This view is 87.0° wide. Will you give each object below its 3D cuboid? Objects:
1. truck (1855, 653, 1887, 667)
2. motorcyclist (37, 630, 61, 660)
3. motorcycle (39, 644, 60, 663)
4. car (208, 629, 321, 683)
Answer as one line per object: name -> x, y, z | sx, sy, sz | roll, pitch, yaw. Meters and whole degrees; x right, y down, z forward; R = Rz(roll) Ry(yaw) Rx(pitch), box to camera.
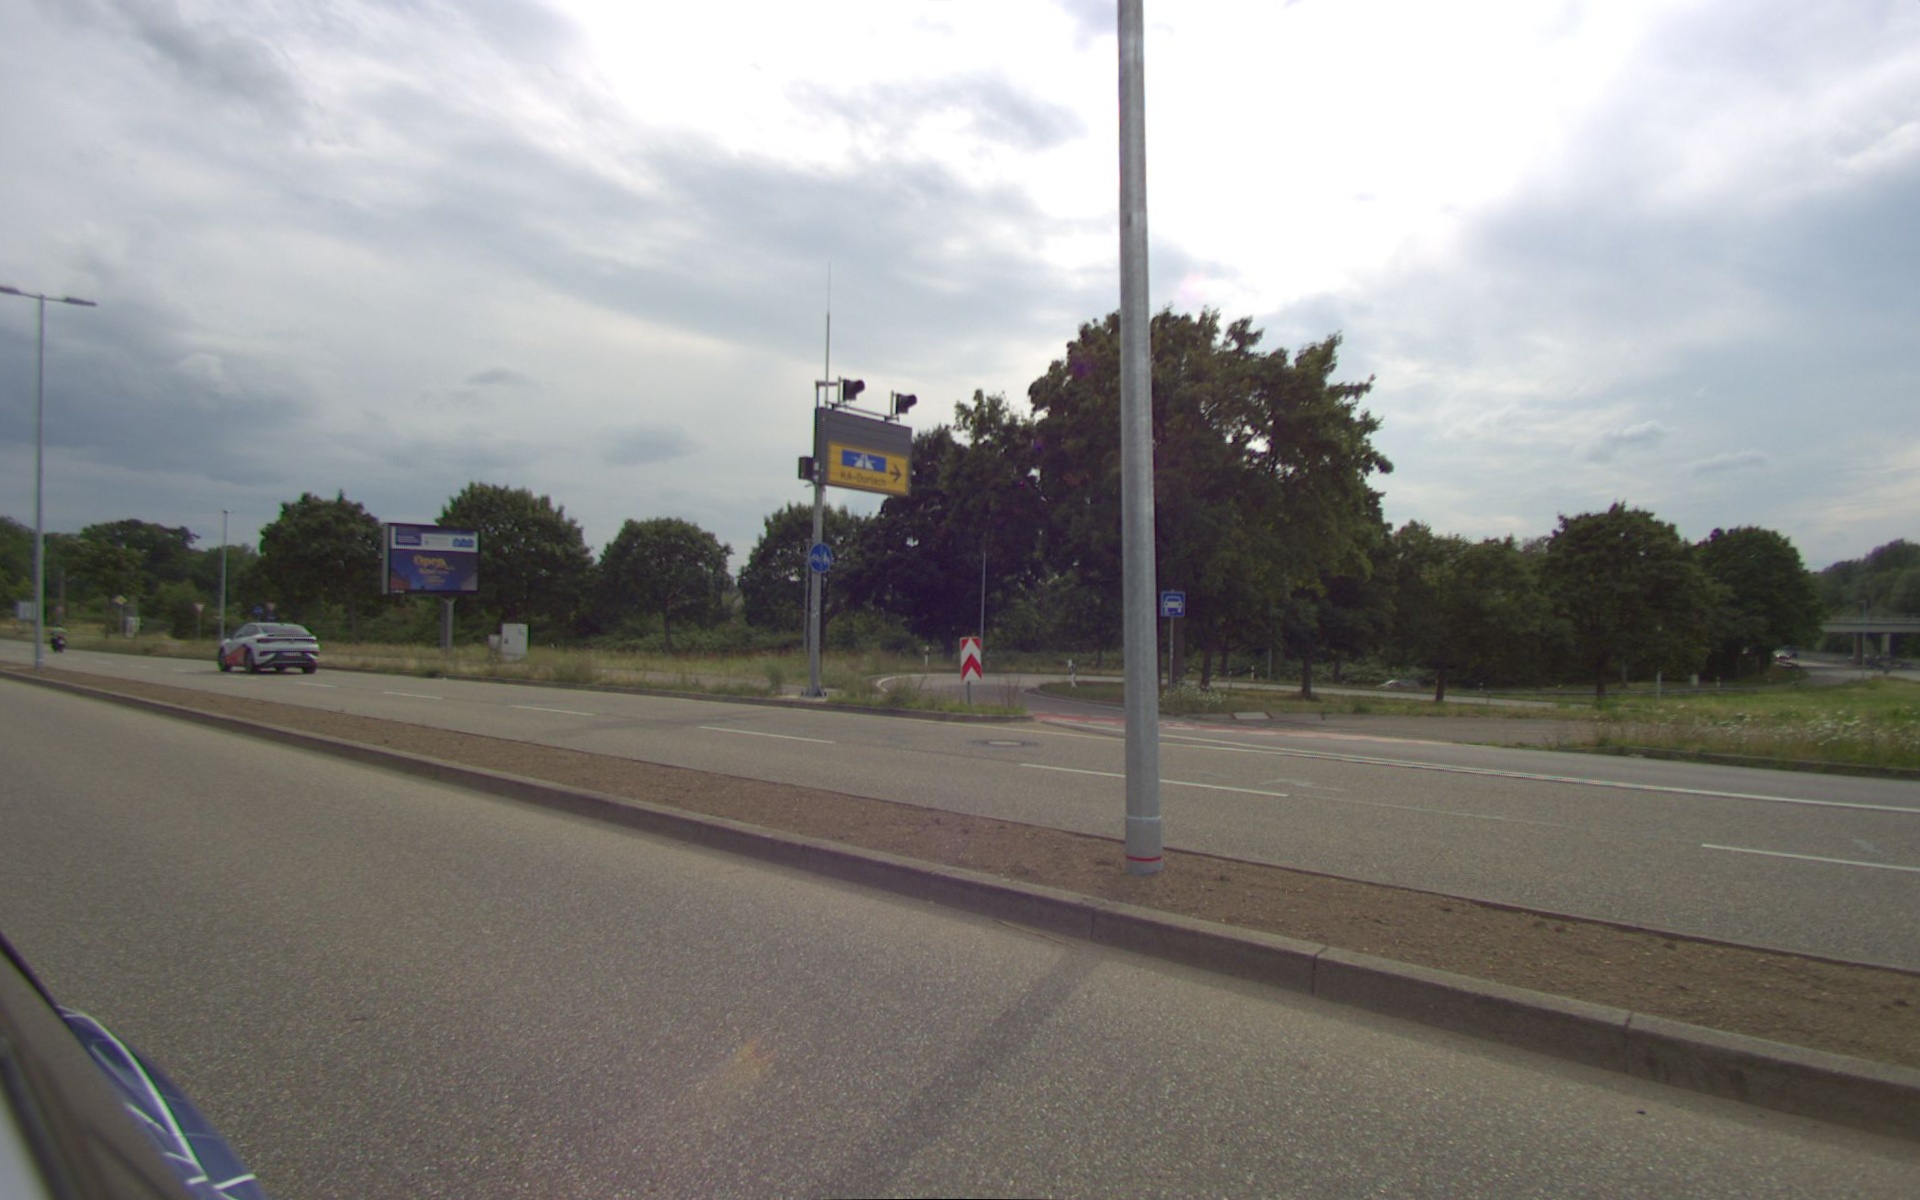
truck -> 141.456, 9.282, 157.161 | 1.777, 2.029, 4.542 | -1, -2, 15
motorcyclist -> -49.726, 2.456, 55.238 | 0.895, 1.600, 0.762 | -2, -4, 39
motorcycle -> -49.658, 2.915, 55.180 | 2.217, 0.974, 0.517 | -2, -2, 39
car -> -22.516, 1.769, 32.707 | 4.557, 1.613, 1.828 | -2, -3, 40
